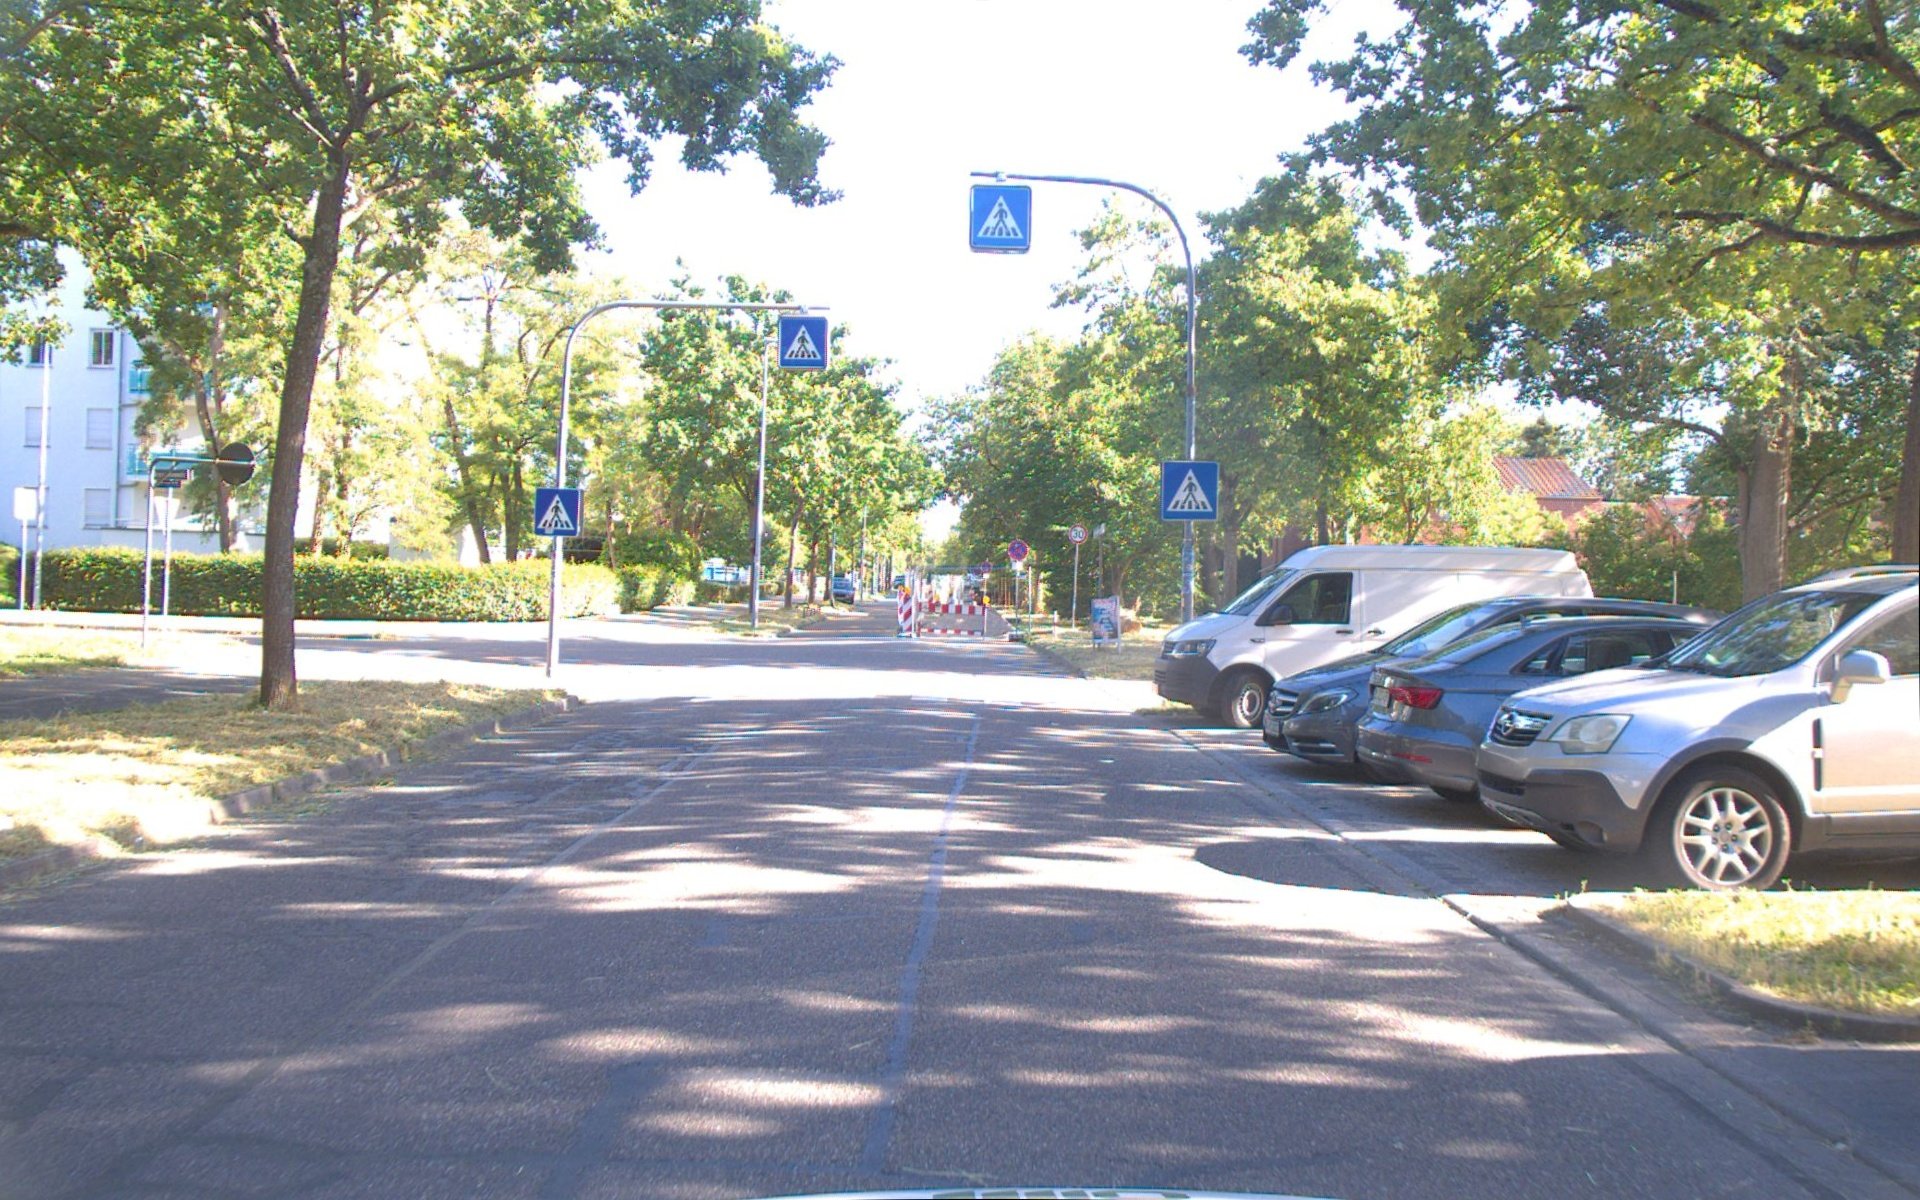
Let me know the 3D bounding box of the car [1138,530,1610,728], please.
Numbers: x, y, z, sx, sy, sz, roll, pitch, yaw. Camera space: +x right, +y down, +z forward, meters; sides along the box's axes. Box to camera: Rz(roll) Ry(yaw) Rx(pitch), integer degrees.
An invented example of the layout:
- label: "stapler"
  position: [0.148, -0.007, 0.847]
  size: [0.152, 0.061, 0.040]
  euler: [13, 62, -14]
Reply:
- label: "car"
  position: [4.816, 0.331, 19.763]
  size: [5.083, 2.142, 2.081]
  euler: [1, 0, -3]

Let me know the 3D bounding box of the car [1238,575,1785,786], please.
- label: "car"
  position: [4.729, 0.662, 14.612]
  size: [4.128, 1.596, 1.933]
  euler: [2, 0, -3]

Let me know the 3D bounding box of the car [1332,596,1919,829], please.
- label: "car"
  position: [4.874, 0.755, 12.027]
  size: [3.905, 1.458, 1.901]
  euler: [1, 0, 1]

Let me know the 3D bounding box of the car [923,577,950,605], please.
- label: "car"
  position: [-1.830, -0.682, 125.989]
  size: [1.953, 2.003, 3.999]
  euler: [2, 0, -1]

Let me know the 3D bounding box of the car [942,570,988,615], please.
- label: "car"
  position: [0.210, -0.354, 75.934]
  size: [1.953, 1.966, 3.999]
  euler: [2, 0, -1]

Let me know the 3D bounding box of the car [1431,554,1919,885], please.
- label: "car"
  position: [5.110, 0.593, 9.458]
  size: [4.296, 1.680, 1.850]
  euler: [0, 0, -3]

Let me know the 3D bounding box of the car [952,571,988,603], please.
- label: "car"
  position: [0.560, -0.779, 96.458]
  size: [1.953, 1.746, 3.999]
  euler: [2, 0, -1]

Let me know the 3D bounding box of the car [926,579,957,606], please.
- label: "car"
  position: [-1.268, -0.497, 112.181]
  size: [1.953, 1.746, 3.999]
  euler: [2, 0, -1]

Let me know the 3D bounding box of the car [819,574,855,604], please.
- label: "car"
  position: [-7.596, -0.682, 102.431]
  size: [1.953, 1.746, 3.999]
  euler: [2, 0, -1]
